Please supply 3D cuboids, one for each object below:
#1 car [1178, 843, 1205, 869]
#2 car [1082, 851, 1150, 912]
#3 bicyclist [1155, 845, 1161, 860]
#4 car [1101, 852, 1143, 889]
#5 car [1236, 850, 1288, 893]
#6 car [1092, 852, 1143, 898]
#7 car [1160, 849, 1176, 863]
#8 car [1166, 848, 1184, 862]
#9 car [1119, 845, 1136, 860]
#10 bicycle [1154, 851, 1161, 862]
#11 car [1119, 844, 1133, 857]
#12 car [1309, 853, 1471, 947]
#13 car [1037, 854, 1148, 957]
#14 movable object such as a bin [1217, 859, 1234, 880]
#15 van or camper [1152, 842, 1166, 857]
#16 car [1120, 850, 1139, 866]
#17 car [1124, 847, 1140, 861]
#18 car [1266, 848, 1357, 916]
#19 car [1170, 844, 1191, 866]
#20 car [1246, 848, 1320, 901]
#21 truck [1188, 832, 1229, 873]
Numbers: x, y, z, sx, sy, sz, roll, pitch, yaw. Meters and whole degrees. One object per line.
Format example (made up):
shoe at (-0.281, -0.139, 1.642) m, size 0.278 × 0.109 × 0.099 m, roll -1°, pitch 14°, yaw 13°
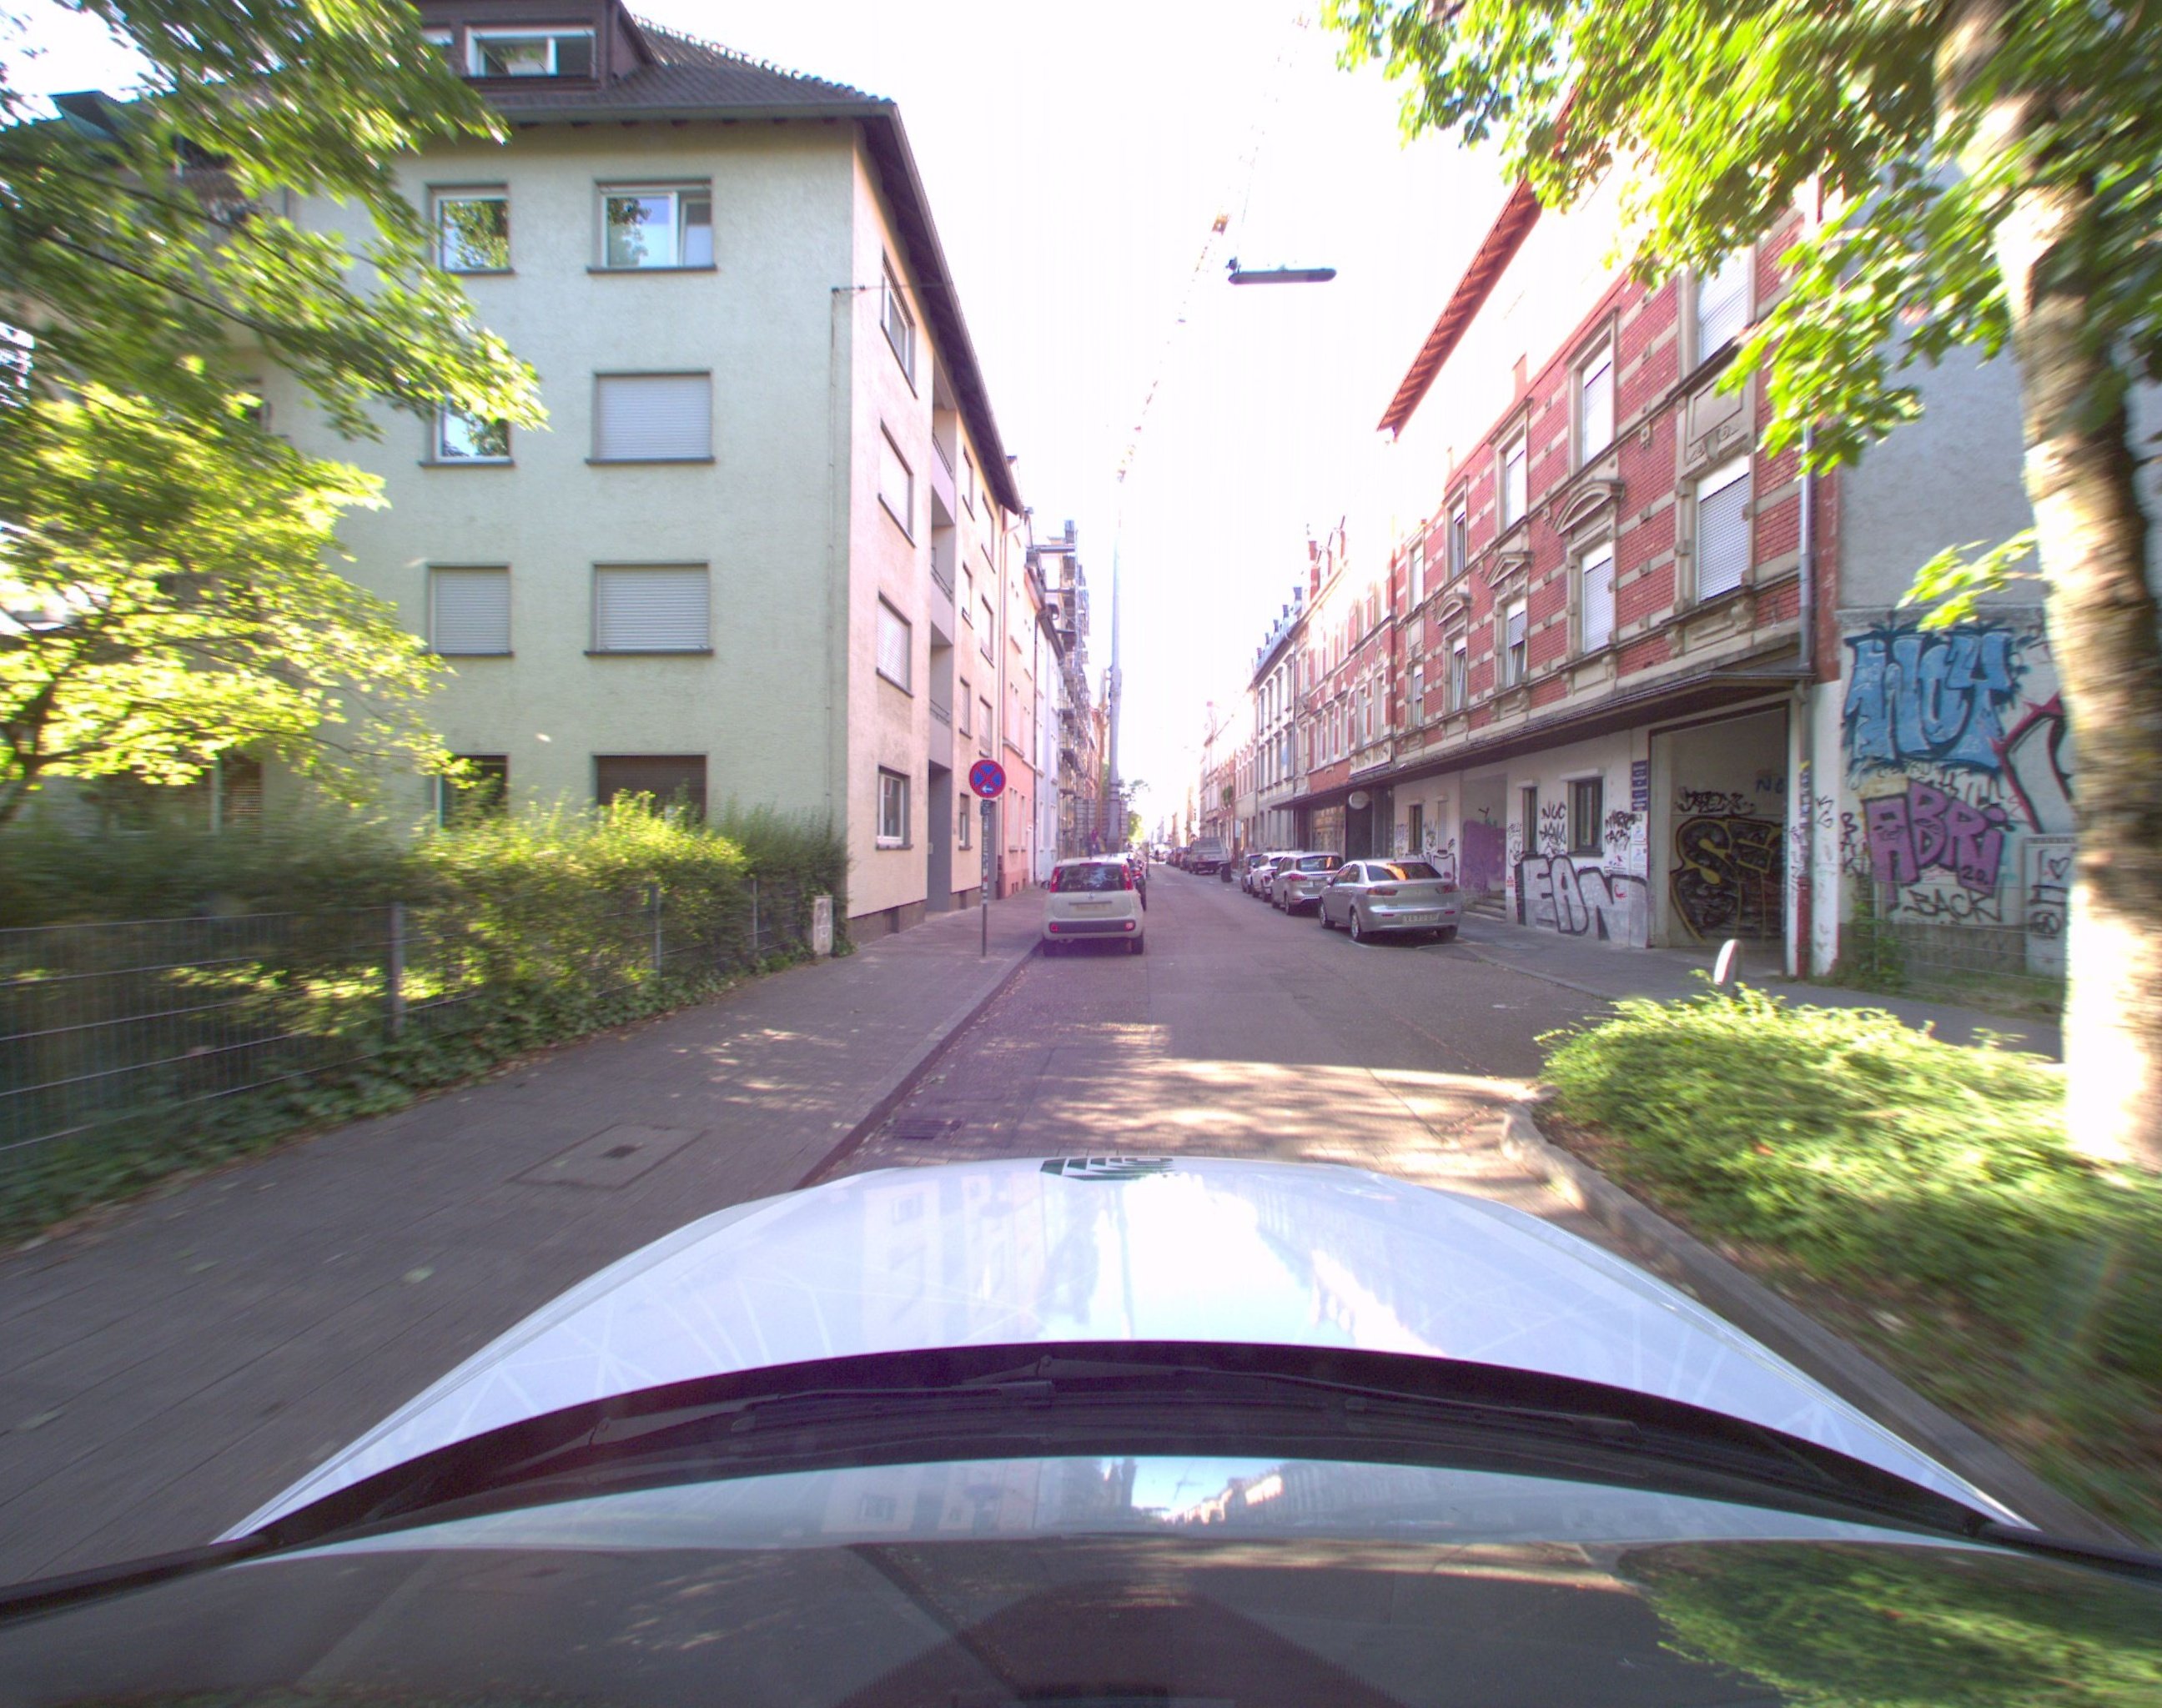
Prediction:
car at (8.838, 0.146, 65.292) m, size 1.669 × 1.963 × 4.110 m, roll 0°, pitch 0°, yaw 1°
car at (0.961, 0.719, 23.356) m, size 1.723 × 1.539 × 4.379 m, roll -1°, pitch 0°, yaw 1°
bicyclist at (8.838, -0.171, 93.438) m, size 0.727 × 1.761 × 0.836 m, roll 1°, pitch 1°, yaw 4°
car at (1.765, 0.650, 34.748) m, size 1.668 × 1.477 × 4.612 m, roll 0°, pitch 0°, yaw 3°
car at (7.220, 0.654, 32.774) m, size 1.589 × 1.560 × 3.819 m, roll 0°, pitch 1°, yaw 5°
car at (1.334, 0.683, 29.028) m, size 1.668 × 1.511 × 4.419 m, roll 0°, pitch 0°, yaw 3°
car at (12.355, 0.292, 115.643) m, size 1.986 × 2.013 × 4.003 m, roll 0°, pitch 0°, yaw 2°
car at (10.490, 0.088, 91.246) m, size 1.669 × 1.571 × 3.870 m, roll 0°, pitch 0°, yaw 1°
car at (4.916, -0.162, 86.495) m, size 1.669 × 1.571 × 3.870 m, roll 0°, pitch 0°, yaw 1°
bicycle at (8.816, 0.329, 93.473) m, size 0.721 × 1.186 × 2.045 m, roll 1°, pitch 1°, yaw 4°
car at (6.656, -0.449, 119.567) m, size 1.986 × 1.849 × 4.003 m, roll -1°, pitch 0°, yaw 2°
car at (5.772, 0.758, 15.796) m, size 1.714 × 1.562 × 4.402 m, roll 0°, pitch 0°, yaw 3°
car at (0.230, 0.781, 14.367) m, size 1.669 × 1.539 × 3.870 m, roll -1°, pitch 0°, yaw 1°
movable object such as a bin at (7.537, 0.801, 42.546) m, size 0.791 × 1.056 × 0.661 m, roll 0°, pitch 0°, yaw 3°
van or camper at (13.836, -0.764, 144.250) m, size 1.987 × 2.508 × 4.201 m, roll -1°, pitch 0°, yaw -1°
car at (4.521, 0.351, 76.012) m, size 1.669 × 1.445 × 3.870 m, roll 0°, pitch 0°, yaw 1°
car at (5.708, -0.019, 91.352) m, size 1.669 × 1.571 × 3.870 m, roll 0°, pitch 0°, yaw 1°
car at (6.099, 0.681, 21.931) m, size 1.632 × 1.656 × 3.874 m, roll 0°, pitch 0°, yaw 4°
car at (9.495, 0.091, 77.774) m, size 1.669 × 2.031 × 3.870 m, roll 0°, pitch 0°, yaw 1°
car at (6.748, 0.638, 27.608) m, size 1.738 × 1.675 × 4.346 m, roll 0°, pitch 0°, yaw 5°
truck at (8.512, -0.117, 54.782) m, size 2.181 × 2.607 × 5.237 m, roll -1°, pitch 0°, yaw 2°
